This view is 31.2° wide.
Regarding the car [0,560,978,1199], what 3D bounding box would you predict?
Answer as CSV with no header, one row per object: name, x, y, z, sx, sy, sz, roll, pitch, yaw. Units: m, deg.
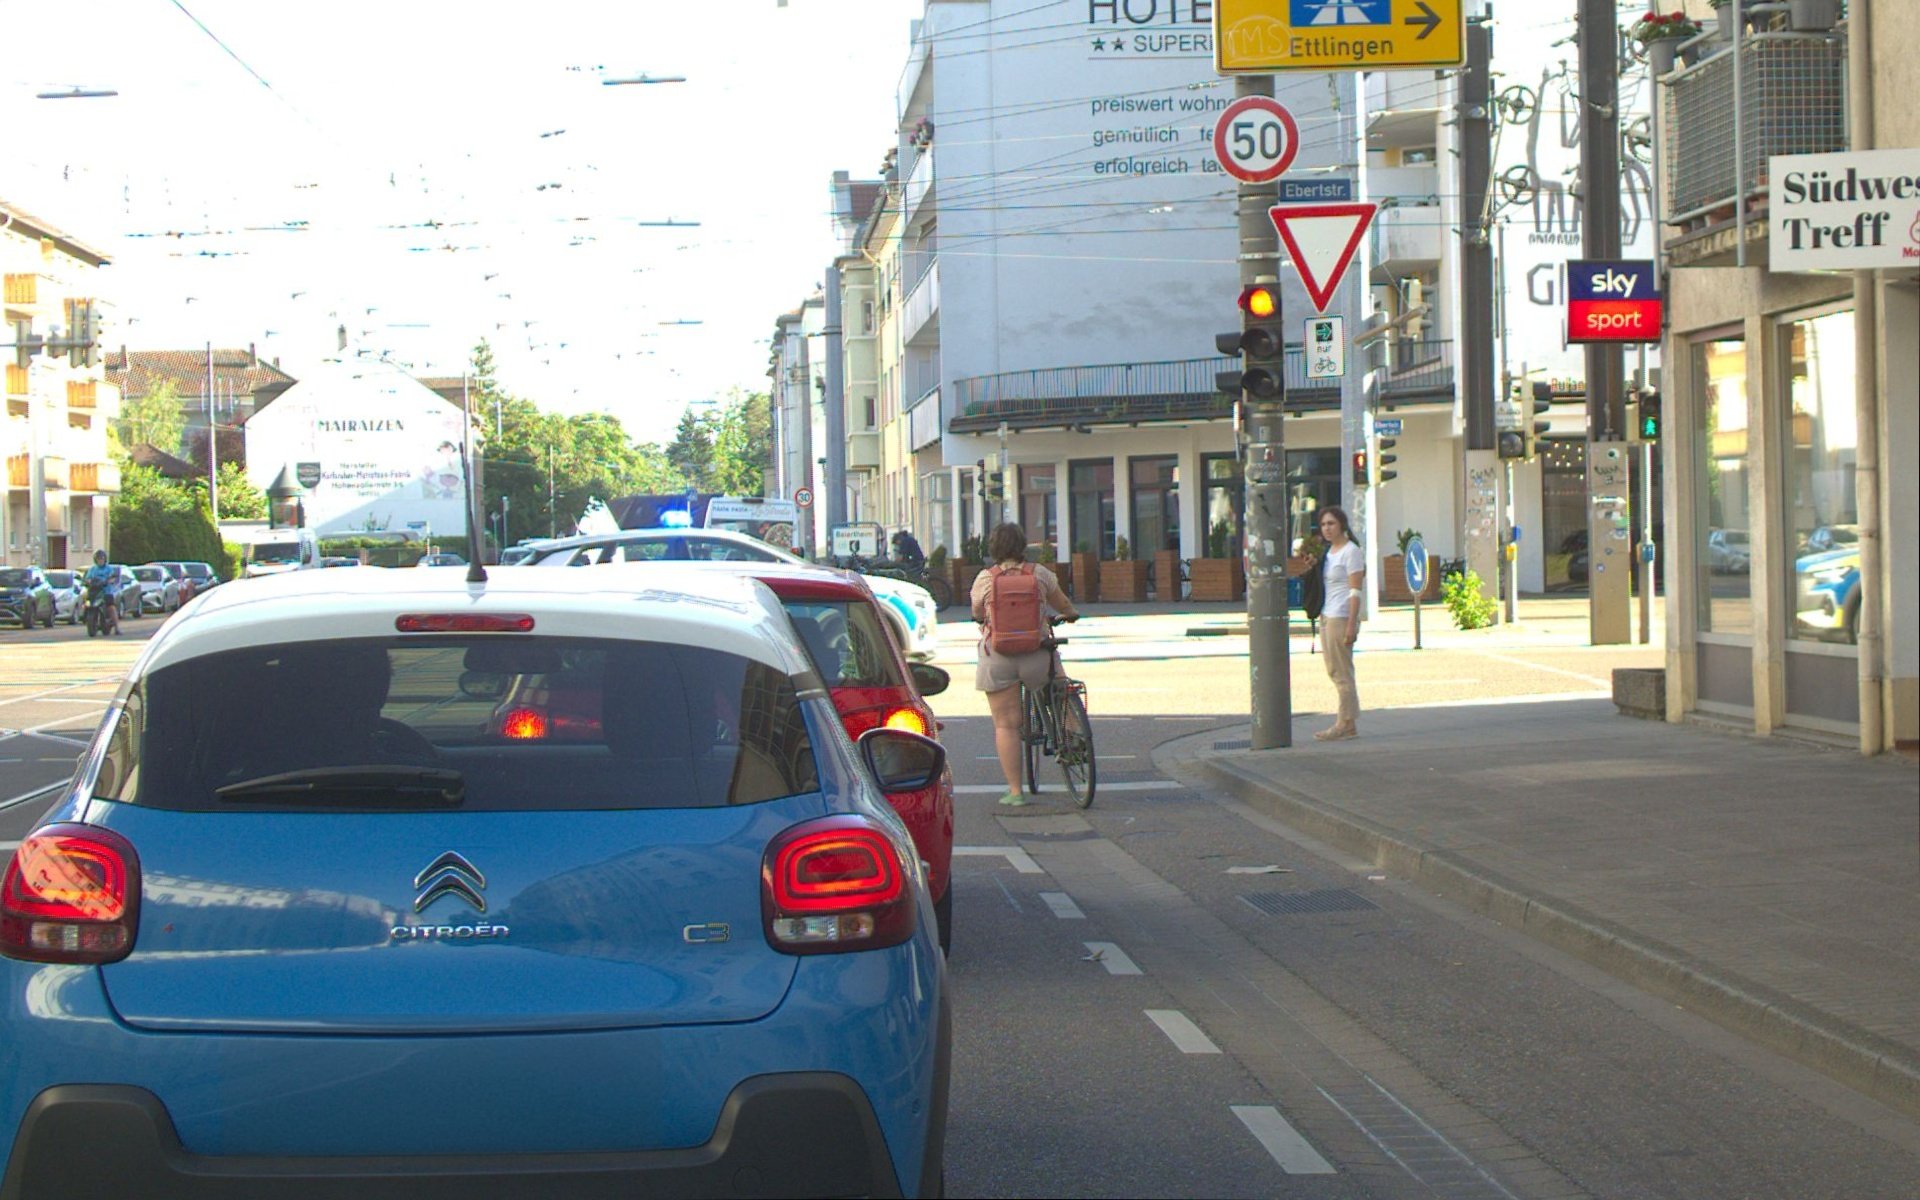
car,-0.953,0.669,7.390,1.680,1.457,4.001,0,1,-4

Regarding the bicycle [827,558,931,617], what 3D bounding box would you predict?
bicycle,-1.557,-0.244,65.829,1.904,1.061,0.642,-1,1,-7

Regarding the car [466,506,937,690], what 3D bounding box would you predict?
car,-2.575,-0.041,34.322,4.533,1.678,1.793,-1,1,-5

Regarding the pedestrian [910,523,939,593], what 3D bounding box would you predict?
pedestrian,-0.720,-0.850,70.021,0.467,1.415,0.527,-2,1,-13

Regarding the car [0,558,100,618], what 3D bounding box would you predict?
car,-24.307,-0.334,91.960,1.950,1.514,4.001,-1,1,-6

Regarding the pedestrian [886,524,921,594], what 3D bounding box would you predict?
pedestrian,-1.153,-0.847,70.273,0.525,1.415,0.546,-1,1,20

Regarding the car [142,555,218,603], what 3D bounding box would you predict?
car,-26.072,-0.719,115.011,1.950,1.514,4.001,-1,1,-6

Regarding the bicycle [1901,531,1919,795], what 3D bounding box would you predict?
bicycle,4.919,0.311,15.768,0.640,1.260,1.911,-1,1,-1

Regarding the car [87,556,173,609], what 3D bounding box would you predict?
car,-24.928,-0.540,103.390,1.950,1.514,4.001,-1,1,-6

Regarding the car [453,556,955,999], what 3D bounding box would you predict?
car,-1.000,0.577,13.599,1.680,1.457,4.001,0,1,-4

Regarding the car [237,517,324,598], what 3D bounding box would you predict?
car,-23.666,-1.503,119.948,2.493,2.703,5.839,-1,1,-7

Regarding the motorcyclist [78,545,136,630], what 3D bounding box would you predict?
motorcyclist,-16.674,-0.251,67.226,0.991,1.625,0.739,-1,1,-9

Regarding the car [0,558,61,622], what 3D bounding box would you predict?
car,-23.787,-0.265,85.902,1.950,1.514,4.001,-1,1,-6

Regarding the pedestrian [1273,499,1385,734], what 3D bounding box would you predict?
pedestrian,2.612,0.106,24.390,0.751,1.629,0.740,-1,1,6

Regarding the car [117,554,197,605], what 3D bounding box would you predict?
car,-25.362,-0.670,108.669,1.950,1.514,4.001,-1,1,-6

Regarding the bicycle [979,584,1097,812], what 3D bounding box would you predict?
bicycle,0.453,0.559,20.657,0.613,1.260,1.911,-1,1,-1

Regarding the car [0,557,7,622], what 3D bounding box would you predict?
car,-23.321,-0.192,79.238,1.950,1.514,4.001,-1,1,-6

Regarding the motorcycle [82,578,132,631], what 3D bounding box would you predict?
motorcycle,-16.693,0.074,67.300,0.751,0.973,2.098,-1,1,-9

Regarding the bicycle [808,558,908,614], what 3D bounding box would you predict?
bicycle,-2.025,-0.276,68.327,1.904,1.061,0.642,-1,1,-7

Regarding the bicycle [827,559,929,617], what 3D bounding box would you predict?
bicycle,-1.606,-0.238,67.135,1.904,1.061,0.642,-1,1,-7

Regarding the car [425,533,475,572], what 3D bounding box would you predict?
car,-22.017,-2.072,148.315,2.004,1.622,5.054,-1,1,-10

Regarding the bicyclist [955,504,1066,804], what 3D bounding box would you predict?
bicyclist,0.295,0.303,20.614,0.600,1.740,1.084,-1,1,-1

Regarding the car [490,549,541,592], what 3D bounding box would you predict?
car,-22.053,-1.501,170.854,2.338,2.032,5.051,-1,1,-6

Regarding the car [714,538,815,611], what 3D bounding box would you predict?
car,-3.881,-0.517,67.819,1.786,1.354,3.915,-1,1,-6

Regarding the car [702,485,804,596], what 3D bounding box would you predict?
car,-4.432,-1.279,73.255,2.079,2.262,5.652,0,1,-4

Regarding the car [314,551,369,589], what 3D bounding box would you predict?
car,-25.983,-1.279,144.581,1.950,1.514,4.001,-1,1,-6
